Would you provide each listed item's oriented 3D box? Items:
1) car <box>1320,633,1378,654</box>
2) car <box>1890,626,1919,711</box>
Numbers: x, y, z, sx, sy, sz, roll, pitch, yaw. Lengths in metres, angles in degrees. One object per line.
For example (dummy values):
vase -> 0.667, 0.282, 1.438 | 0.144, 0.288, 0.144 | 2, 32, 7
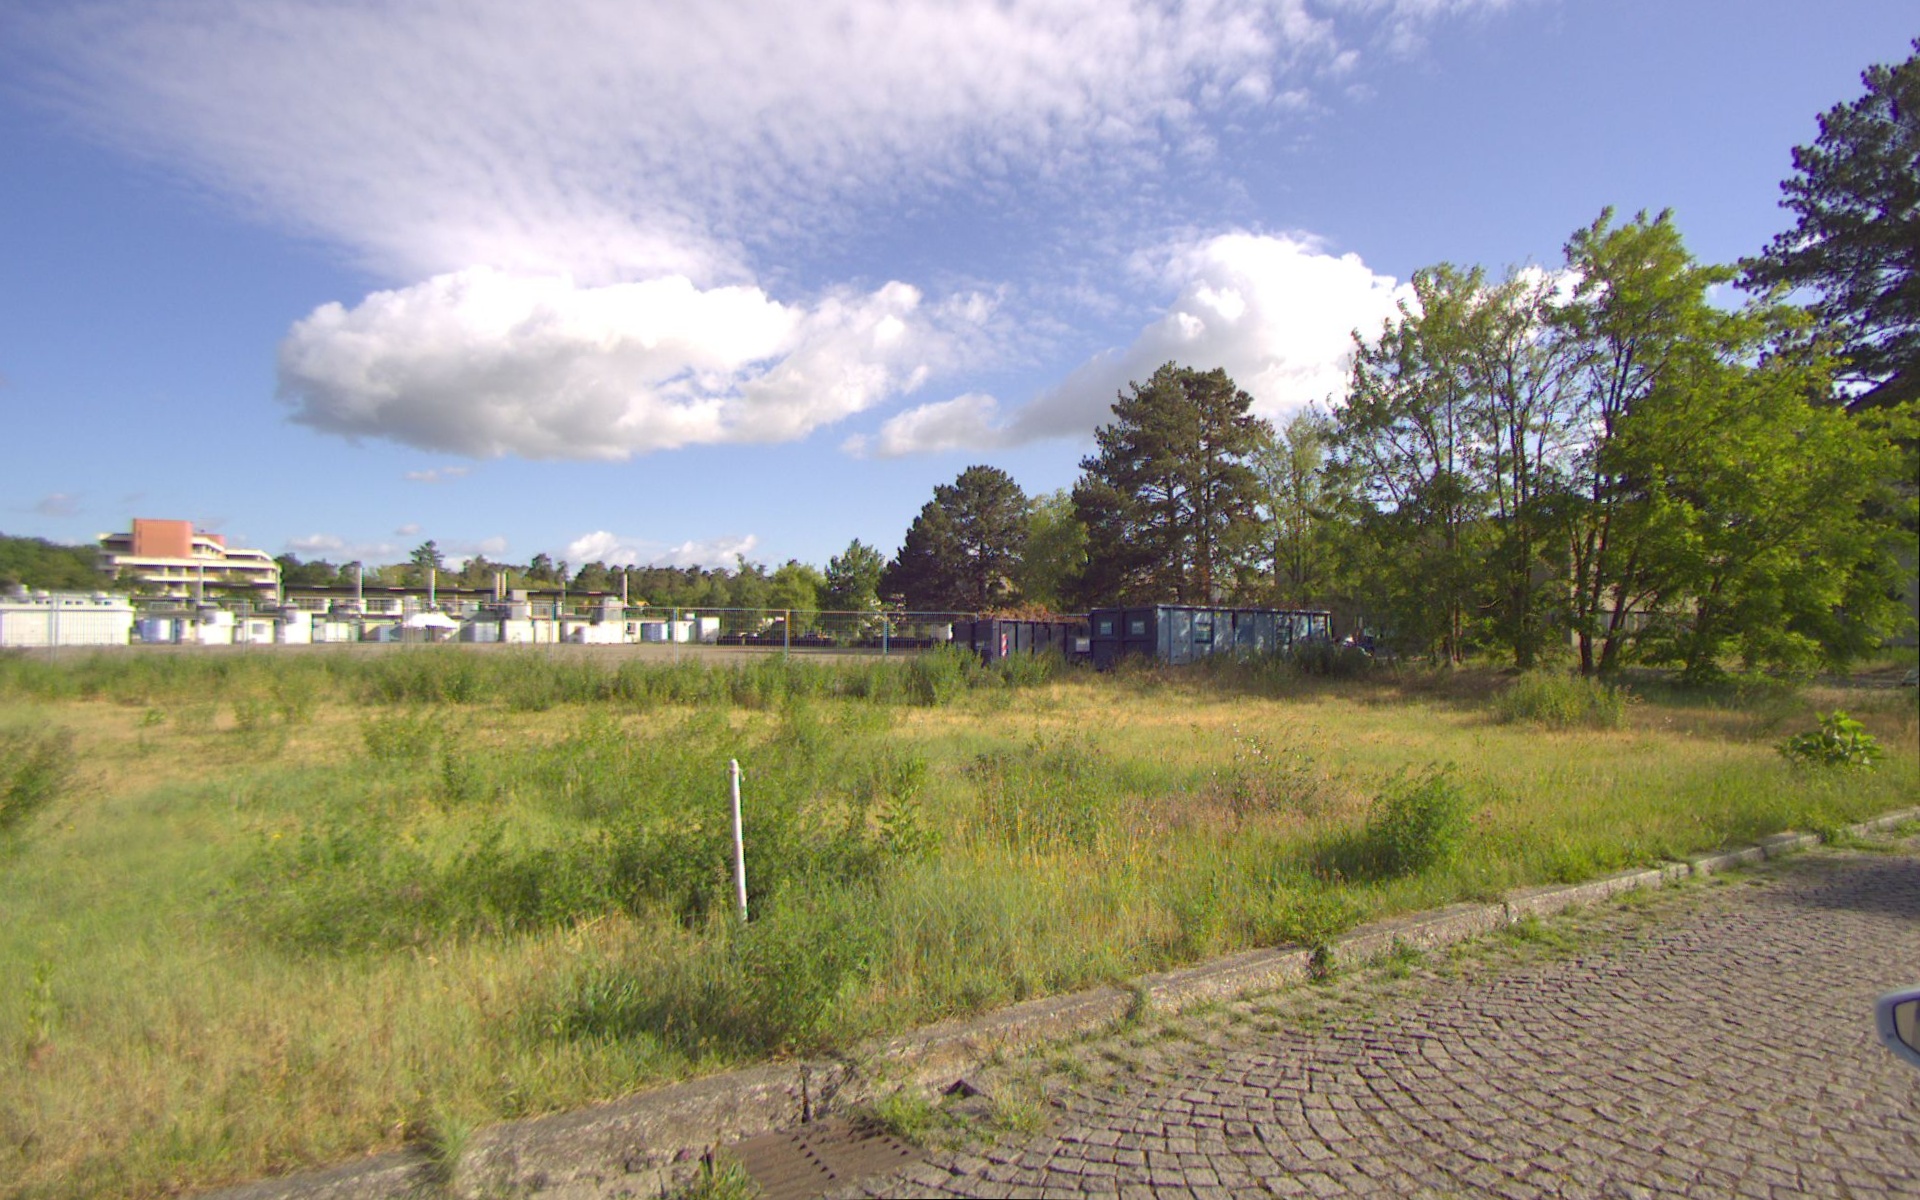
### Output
car -> 28.323, 3.152, 73.056 | 3.953, 1.452, 1.893 | 2, -2, -30
car -> 18.769, 1.272, 17.310 | 1.628, 1.507, 3.724 | 1, 0, -33
